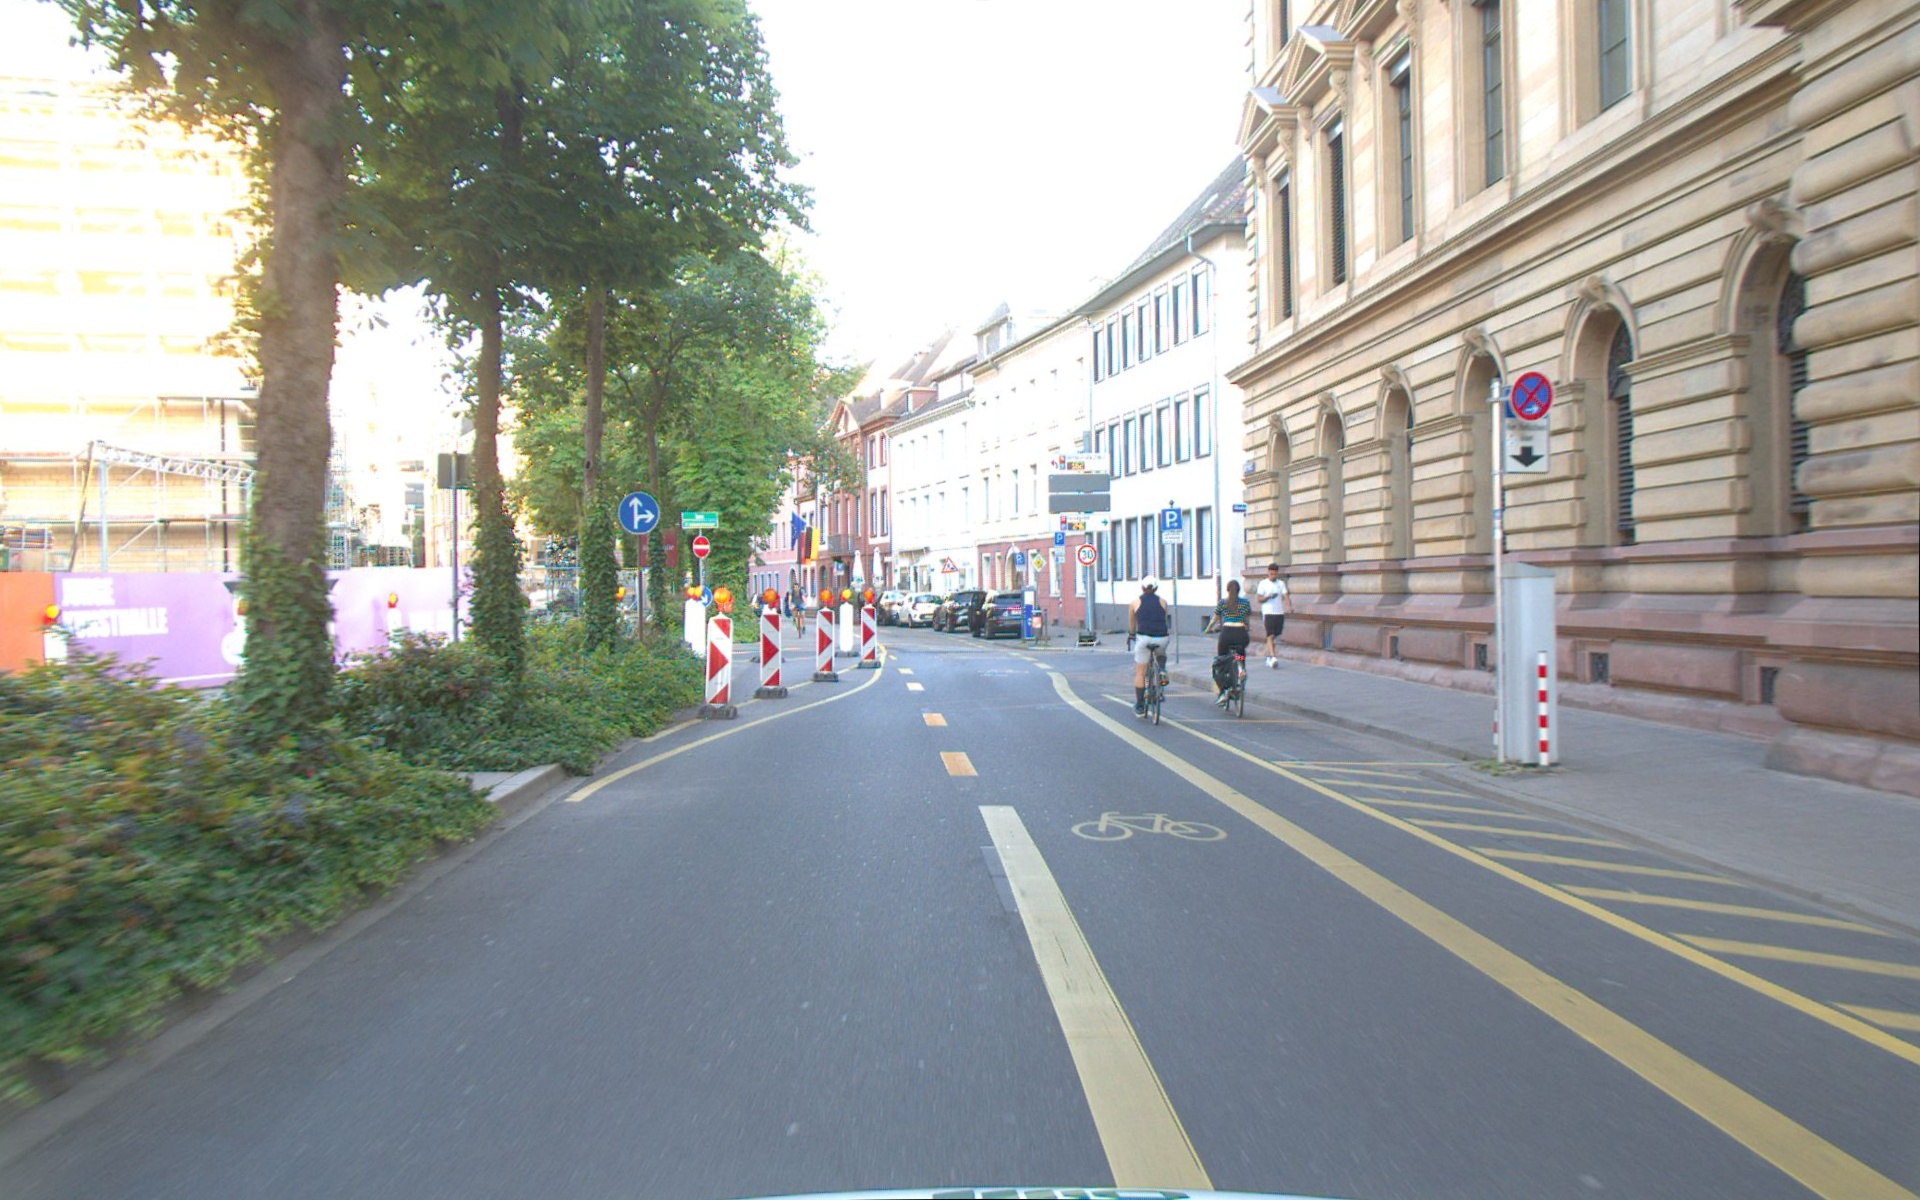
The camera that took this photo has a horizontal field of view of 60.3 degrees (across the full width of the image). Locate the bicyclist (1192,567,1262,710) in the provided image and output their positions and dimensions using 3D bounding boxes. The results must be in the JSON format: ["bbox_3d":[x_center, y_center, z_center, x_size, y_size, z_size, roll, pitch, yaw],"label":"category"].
[{"bbox_3d":[3.422,0.482,21.245,0.637,1.791,0.863,1,0,-7],"label":"bicyclist"}]

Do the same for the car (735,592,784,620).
[{"bbox_3d":[-11.728,0.340,96.751,1.789,1.587,3.835,-1,0,-25],"label":"car"}]

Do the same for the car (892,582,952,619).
[{"bbox_3d":[-1.691,0.016,72.406,1.782,1.587,3.850,-1,0,-15],"label":"car"}]

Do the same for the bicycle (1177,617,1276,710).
[{"bbox_3d":[3.410,0.789,21.386,0.640,1.089,2.254,1,0,-7],"label":"bicycle"}]

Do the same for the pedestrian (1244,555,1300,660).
[{"bbox_3d":[5.407,0.123,28.691,0.800,1.796,1.038,0,1,1],"label":"pedestrian"}]

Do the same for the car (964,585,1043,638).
[{"bbox_3d":[1.443,0.365,56.641,1.781,1.712,3.906,-1,0,-13],"label":"car"}]

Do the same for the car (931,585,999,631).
[{"bbox_3d":[0.157,0.279,64.536,1.781,1.713,3.986,-1,0,-13],"label":"car"}]

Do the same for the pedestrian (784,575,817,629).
[{"bbox_3d":[-5.093,0.047,52.738,0.720,1.703,0.896,-1,0,20],"label":"pedestrian"}]

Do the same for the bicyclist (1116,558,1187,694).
[{"bbox_3d":[2.287,0.303,19.817,0.656,1.593,0.697,1,0,-10],"label":"bicyclist"}]

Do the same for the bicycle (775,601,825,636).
[{"bbox_3d":[-5.089,0.571,52.750,0.745,1.055,2.121,-1,0,19],"label":"bicycle"}]

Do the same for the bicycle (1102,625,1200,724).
[{"bbox_3d":[2.272,0.868,19.864,0.657,1.089,1.897,1,0,-10],"label":"bicycle"}]

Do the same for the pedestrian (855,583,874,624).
[{"bbox_3d":[-4.416,0.141,76.742,0.813,1.876,0.958,0,1,1],"label":"pedestrian"}]

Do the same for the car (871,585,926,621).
[{"bbox_3d":[-2.880,0.133,76.838,1.782,1.587,3.850,-1,0,-15],"label":"car"}]

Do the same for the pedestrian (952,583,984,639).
[{"bbox_3d":[0.284,0.382,57.232,0.885,1.898,0.929,-1,0,-14],"label":"pedestrian"}]
